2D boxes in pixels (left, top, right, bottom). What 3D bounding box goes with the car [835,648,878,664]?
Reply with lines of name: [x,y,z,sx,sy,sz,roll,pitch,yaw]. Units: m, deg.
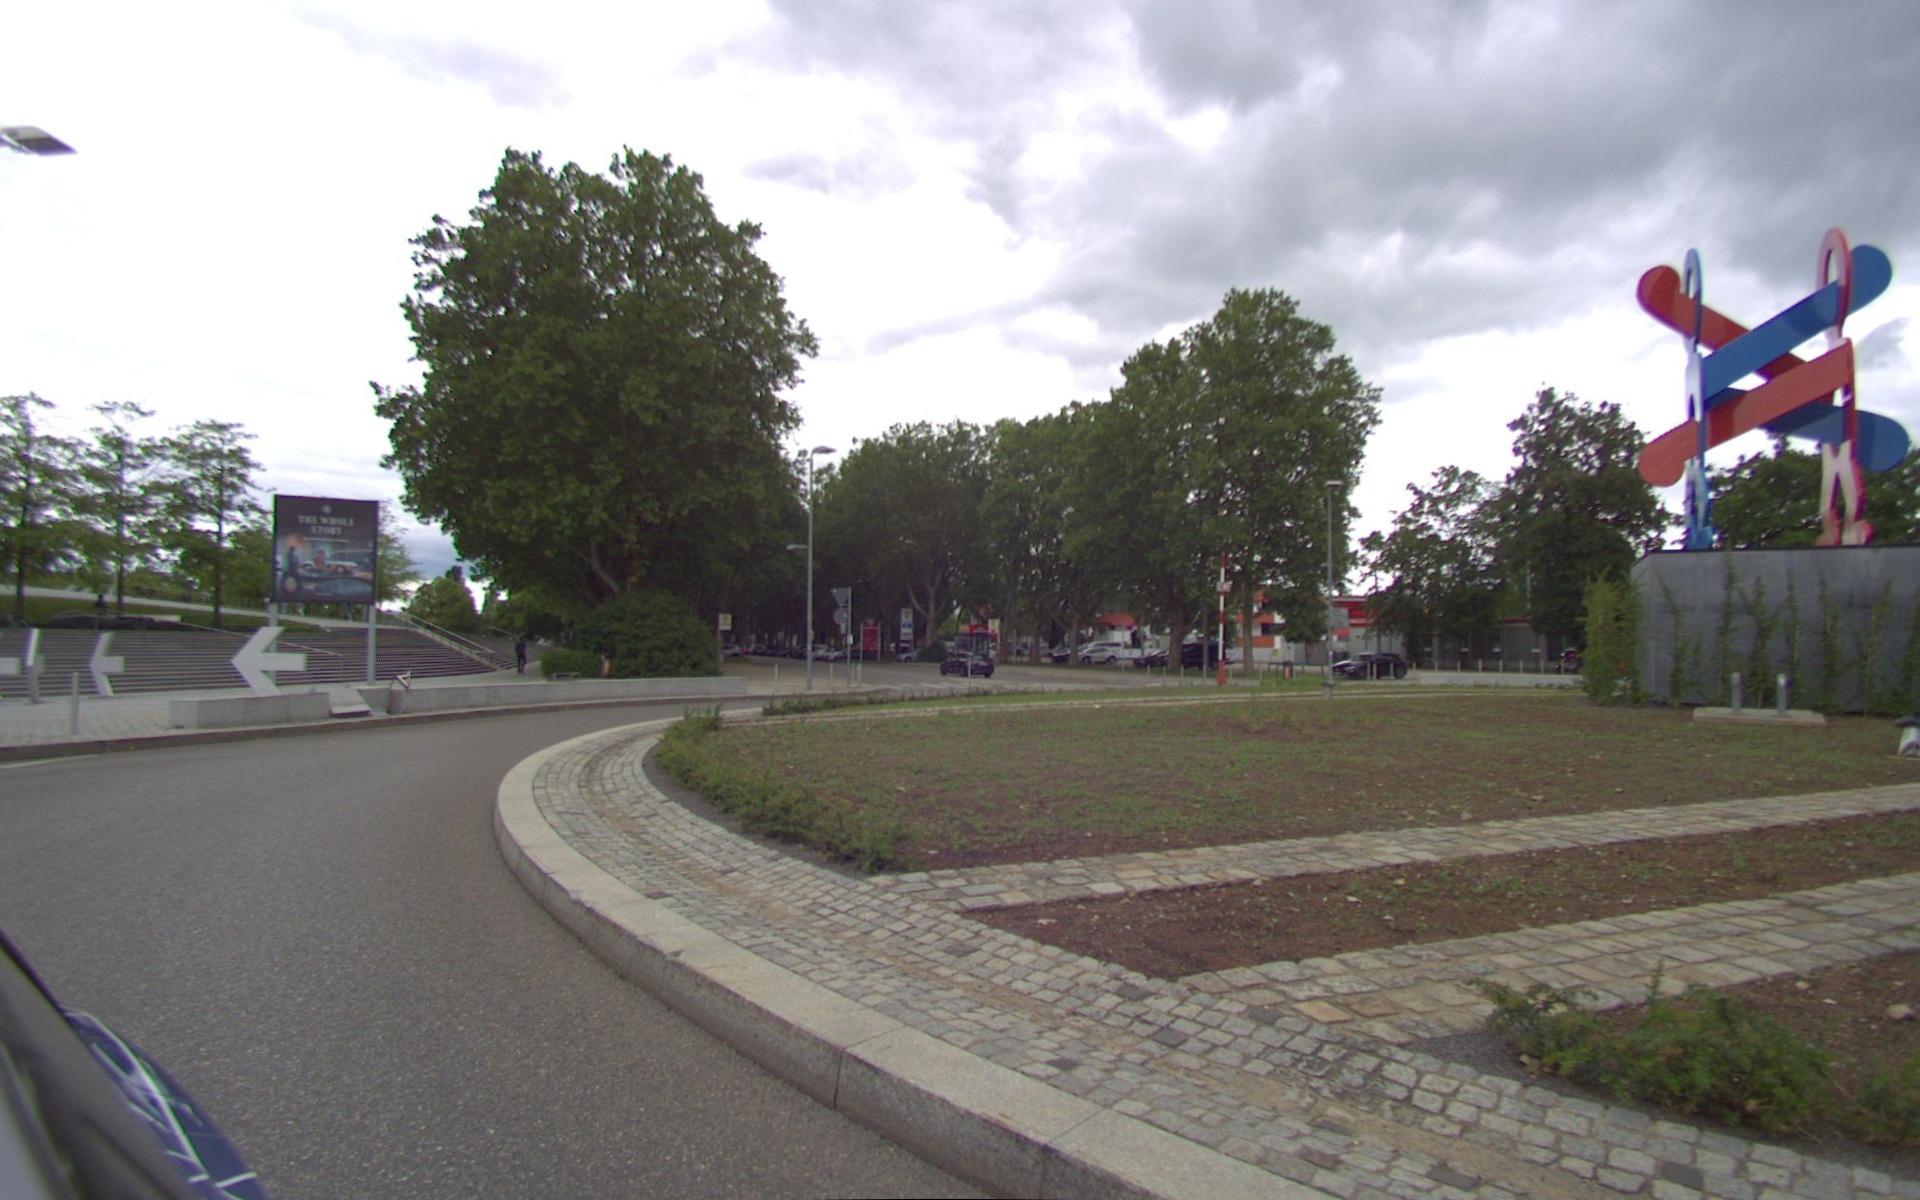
car: [-10.309,5.606,100.876,4.107,1.530,1.876,0,-3,-12]

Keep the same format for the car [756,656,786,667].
car: [-25.709,8.388,137.914,3.941,1.530,1.876,0,-3,-12]

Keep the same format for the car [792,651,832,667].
car: [-15.565,6.157,106.337,3.941,1.623,1.872,0,-3,-12]

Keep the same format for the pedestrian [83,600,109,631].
pedestrian: [-39.909,0.710,46.764,0.682,1.398,0.780,-4,-4,40]

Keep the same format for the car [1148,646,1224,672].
car: [15.706,4.092,70.367,4.729,1.741,2.018,0,-4,-21]

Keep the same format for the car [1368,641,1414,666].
car: [30.193,3.771,70.994,1.776,1.664,4.425,-1,-3,8]

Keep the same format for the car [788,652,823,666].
car: [-18.035,6.864,117.895,3.941,1.530,1.876,0,-3,-12]

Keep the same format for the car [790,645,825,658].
car: [-18.263,6.159,120.959,3.941,1.530,1.876,1,-3,-12]

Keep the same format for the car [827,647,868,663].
car: [-11.477,5.610,103.242,3.941,1.530,1.876,0,-3,-12]

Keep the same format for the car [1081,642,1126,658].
car: [15.184,5.282,107.240,4.360,1.664,1.802,1,-4,-22]

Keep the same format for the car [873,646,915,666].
car: [-6.186,5.256,95.008,3.648,1.791,1.675,0,-4,-18]

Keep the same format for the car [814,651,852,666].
car: [-13.648,6.301,108.819,3.942,1.623,1.872,0,-3,-11]

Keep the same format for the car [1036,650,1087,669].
car: [8.678,5.125,87.004,3.940,1.530,1.876,0,-3,-13]

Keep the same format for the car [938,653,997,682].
car: [0.372,3.900,58.393,1.765,1.576,4.743,1,-4,-22]

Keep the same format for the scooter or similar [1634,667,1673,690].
scooter or similar: [35.137,3.981,51.260,1.941,1.118,0.642,1,-4,-22]

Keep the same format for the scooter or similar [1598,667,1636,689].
scooter or similar: [34.603,4.103,53.284,1.941,1.118,0.642,1,-4,-22]

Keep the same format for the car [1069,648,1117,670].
car: [11.158,4.957,84.907,3.650,1.791,1.674,0,-3,-13]

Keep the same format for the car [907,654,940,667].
car: [-4.656,7.784,129.933,3.941,1.530,1.876,0,-3,-11]

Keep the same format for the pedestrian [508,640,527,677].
pedestrian: [-21.671,2.850,49.564,0.552,1.775,0.590,-2,-4,25]

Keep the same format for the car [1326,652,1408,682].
car: [21.587,3.544,53.688,3.759,1.536,1.785,0,-4,-21]

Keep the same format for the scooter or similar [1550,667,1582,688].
scooter or similar: [33.881,4.312,56.563,1.778,1.103,0.547,1,-4,-22]

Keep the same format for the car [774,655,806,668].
car: [-21.751,7.826,129.214,3.941,1.530,1.876,0,-3,-12]

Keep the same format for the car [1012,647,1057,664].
car: [7.139,5.364,97.219,3.941,1.530,1.876,0,-3,-13]

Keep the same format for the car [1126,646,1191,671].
car: [14.473,4.298,73.829,4.217,1.741,2.018,1,-4,-22]
